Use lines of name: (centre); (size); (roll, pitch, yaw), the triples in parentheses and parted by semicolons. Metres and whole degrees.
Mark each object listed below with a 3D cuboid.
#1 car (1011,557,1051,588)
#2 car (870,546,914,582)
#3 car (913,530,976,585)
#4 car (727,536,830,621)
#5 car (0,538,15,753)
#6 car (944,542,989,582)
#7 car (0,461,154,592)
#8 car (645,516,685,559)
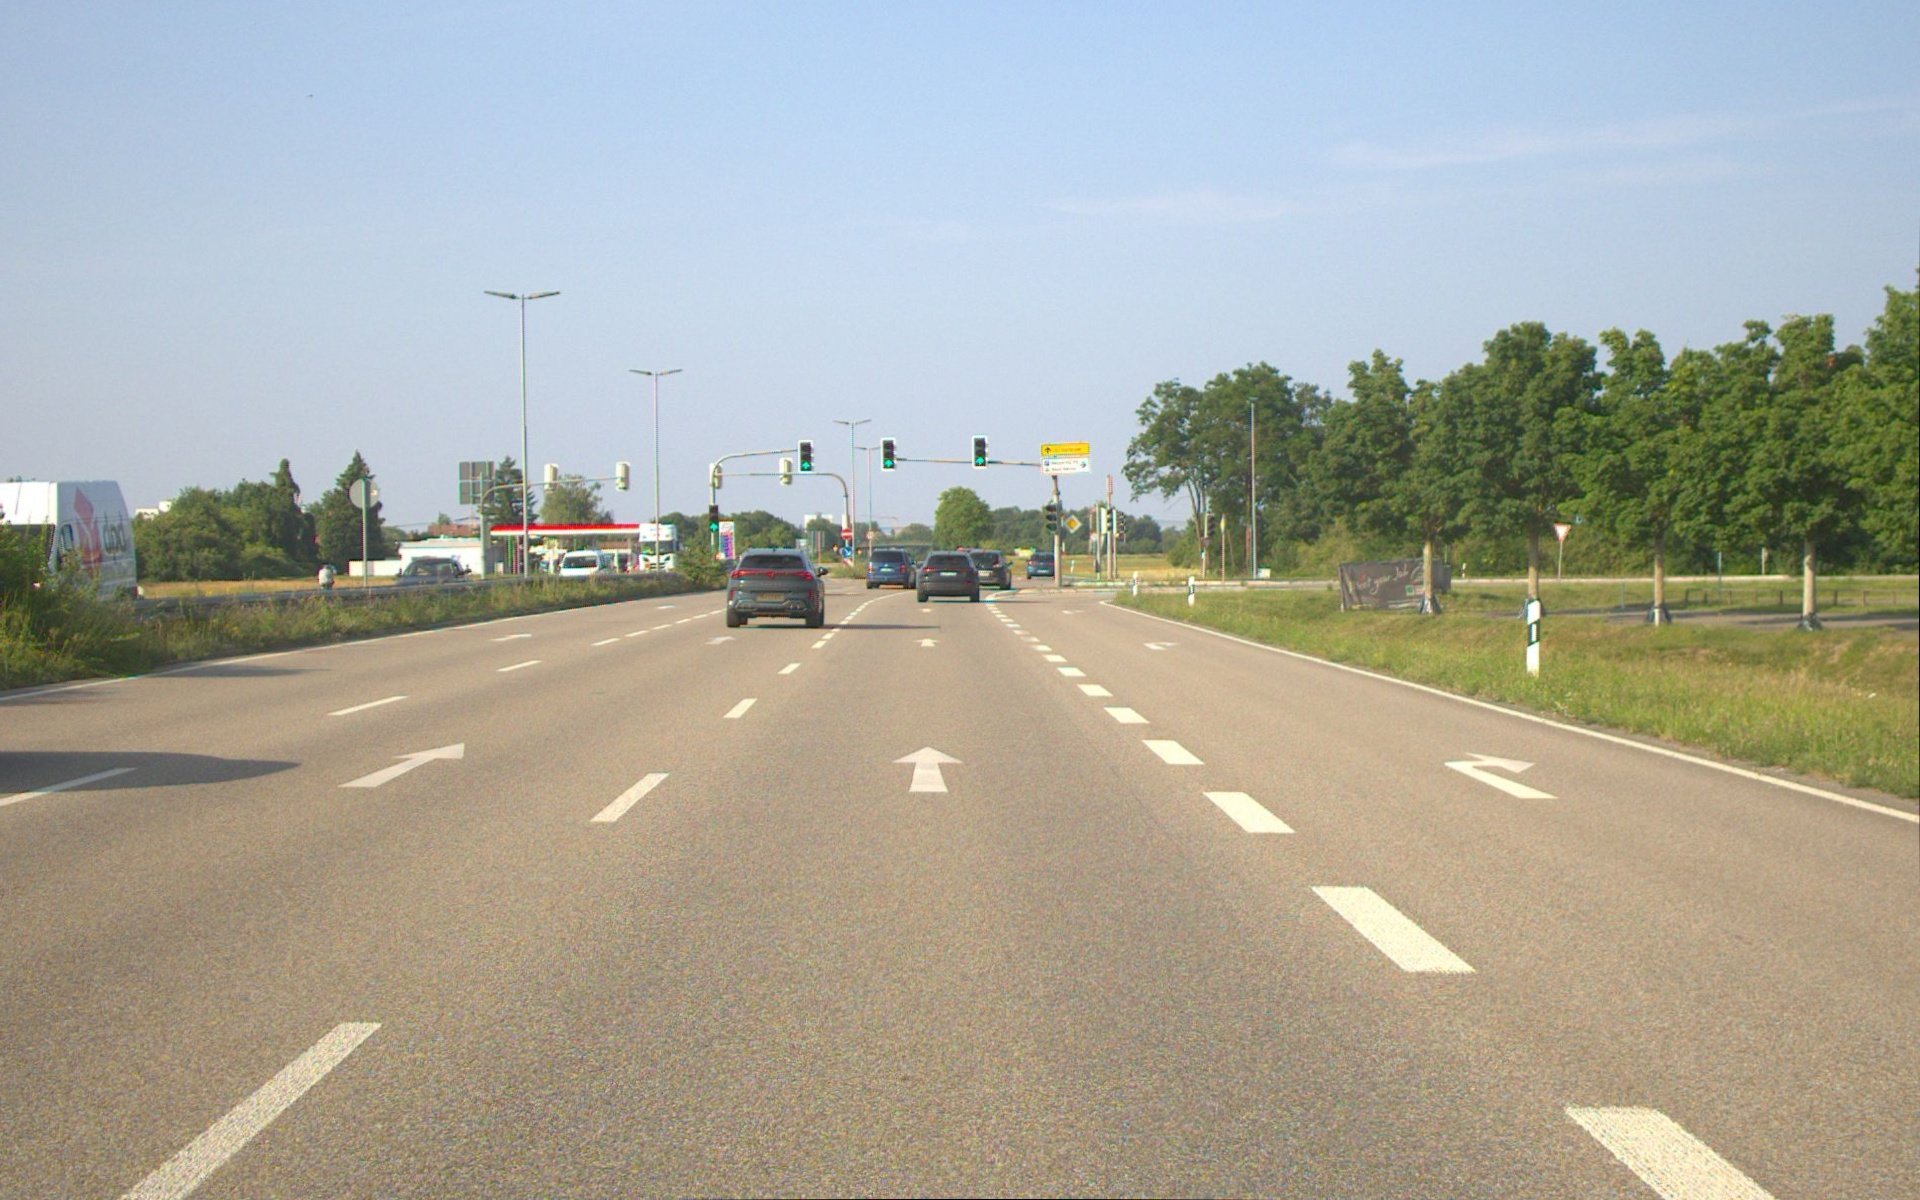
car: (3.886, -1.502, 188.143); (1.946, 1.630, 3.448); (1, 0, -2)
car: (-2.806, -1.522, 142.640); (1.812, 1.458, 4.401); (0, 1, -1)
car: (-0.511, -1.388, 110.235); (1.932, 1.674, 4.401); (2, 1, -1)
car: (-3.647, -0.460, 69.630); (1.845, 1.606, 4.401); (2, 1, -1)
car: (-7.356, 0.347, 21.423); (1.646, 1.466, 4.777); (0, 1, 0)
car: (0.256, -1.590, 142.926); (1.749, 1.612, 3.758); (2, 1, -1)
car: (-15.074, -1.165, 56.662); (2.161, 2.028, 6.323); (1, 0, -1)
car: (-19.836, -4.192, 231.146); (2.271, 2.843, 5.249); (0, 1, -1)
